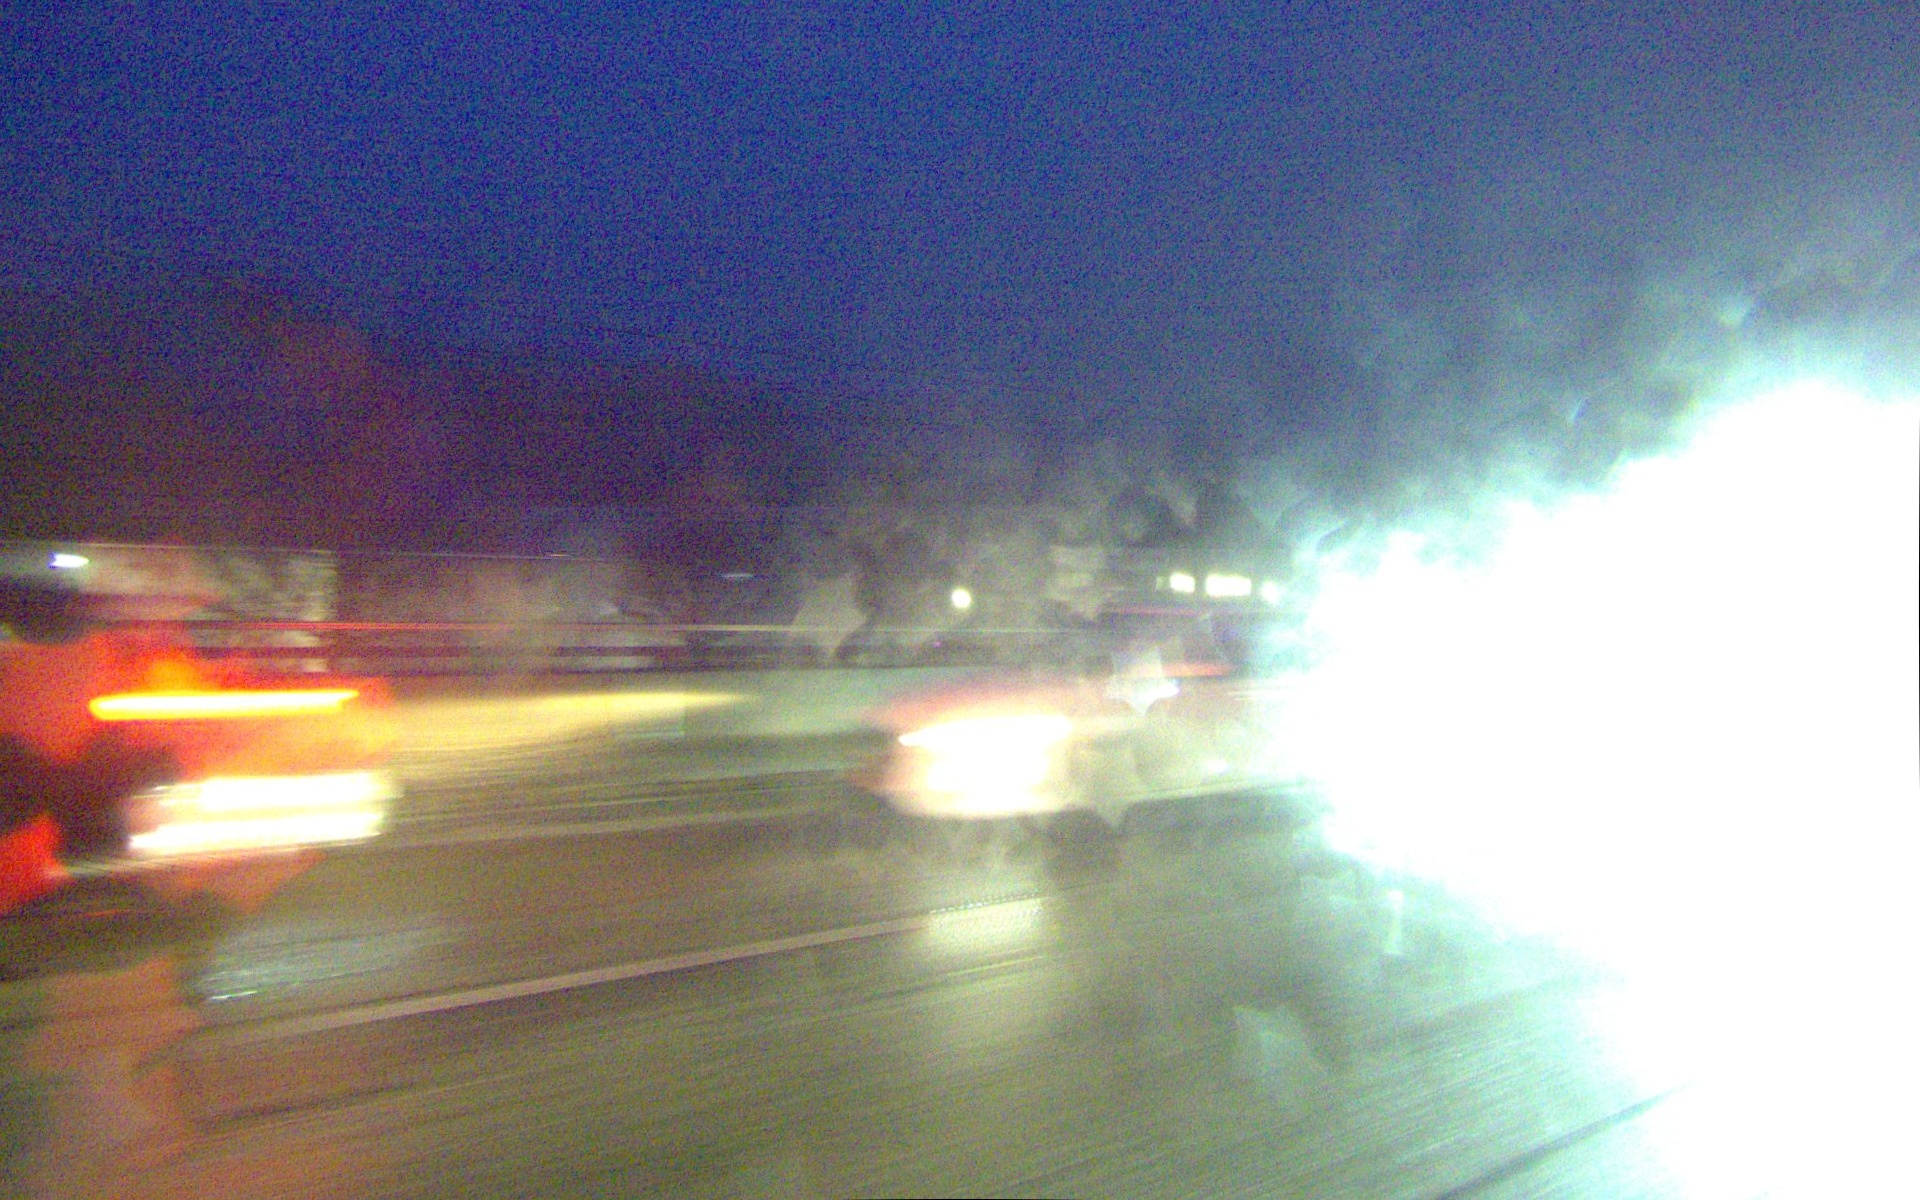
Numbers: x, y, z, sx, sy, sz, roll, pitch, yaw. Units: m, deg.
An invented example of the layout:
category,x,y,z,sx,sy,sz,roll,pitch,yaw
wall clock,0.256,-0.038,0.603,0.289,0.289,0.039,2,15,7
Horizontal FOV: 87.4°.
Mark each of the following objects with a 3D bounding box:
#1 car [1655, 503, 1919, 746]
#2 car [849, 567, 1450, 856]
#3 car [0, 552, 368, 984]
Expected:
category,x,y,z,sx,sy,sz,roll,pitch,yaw
car,12.362,0.316,13.832,6.166,2.744,2.113,1,1,-30
car,1.492,0.643,7.399,4.261,1.609,1.712,1,1,-30
car,-4.517,0.568,3.878,3.782,1.528,1.712,1,1,-30
